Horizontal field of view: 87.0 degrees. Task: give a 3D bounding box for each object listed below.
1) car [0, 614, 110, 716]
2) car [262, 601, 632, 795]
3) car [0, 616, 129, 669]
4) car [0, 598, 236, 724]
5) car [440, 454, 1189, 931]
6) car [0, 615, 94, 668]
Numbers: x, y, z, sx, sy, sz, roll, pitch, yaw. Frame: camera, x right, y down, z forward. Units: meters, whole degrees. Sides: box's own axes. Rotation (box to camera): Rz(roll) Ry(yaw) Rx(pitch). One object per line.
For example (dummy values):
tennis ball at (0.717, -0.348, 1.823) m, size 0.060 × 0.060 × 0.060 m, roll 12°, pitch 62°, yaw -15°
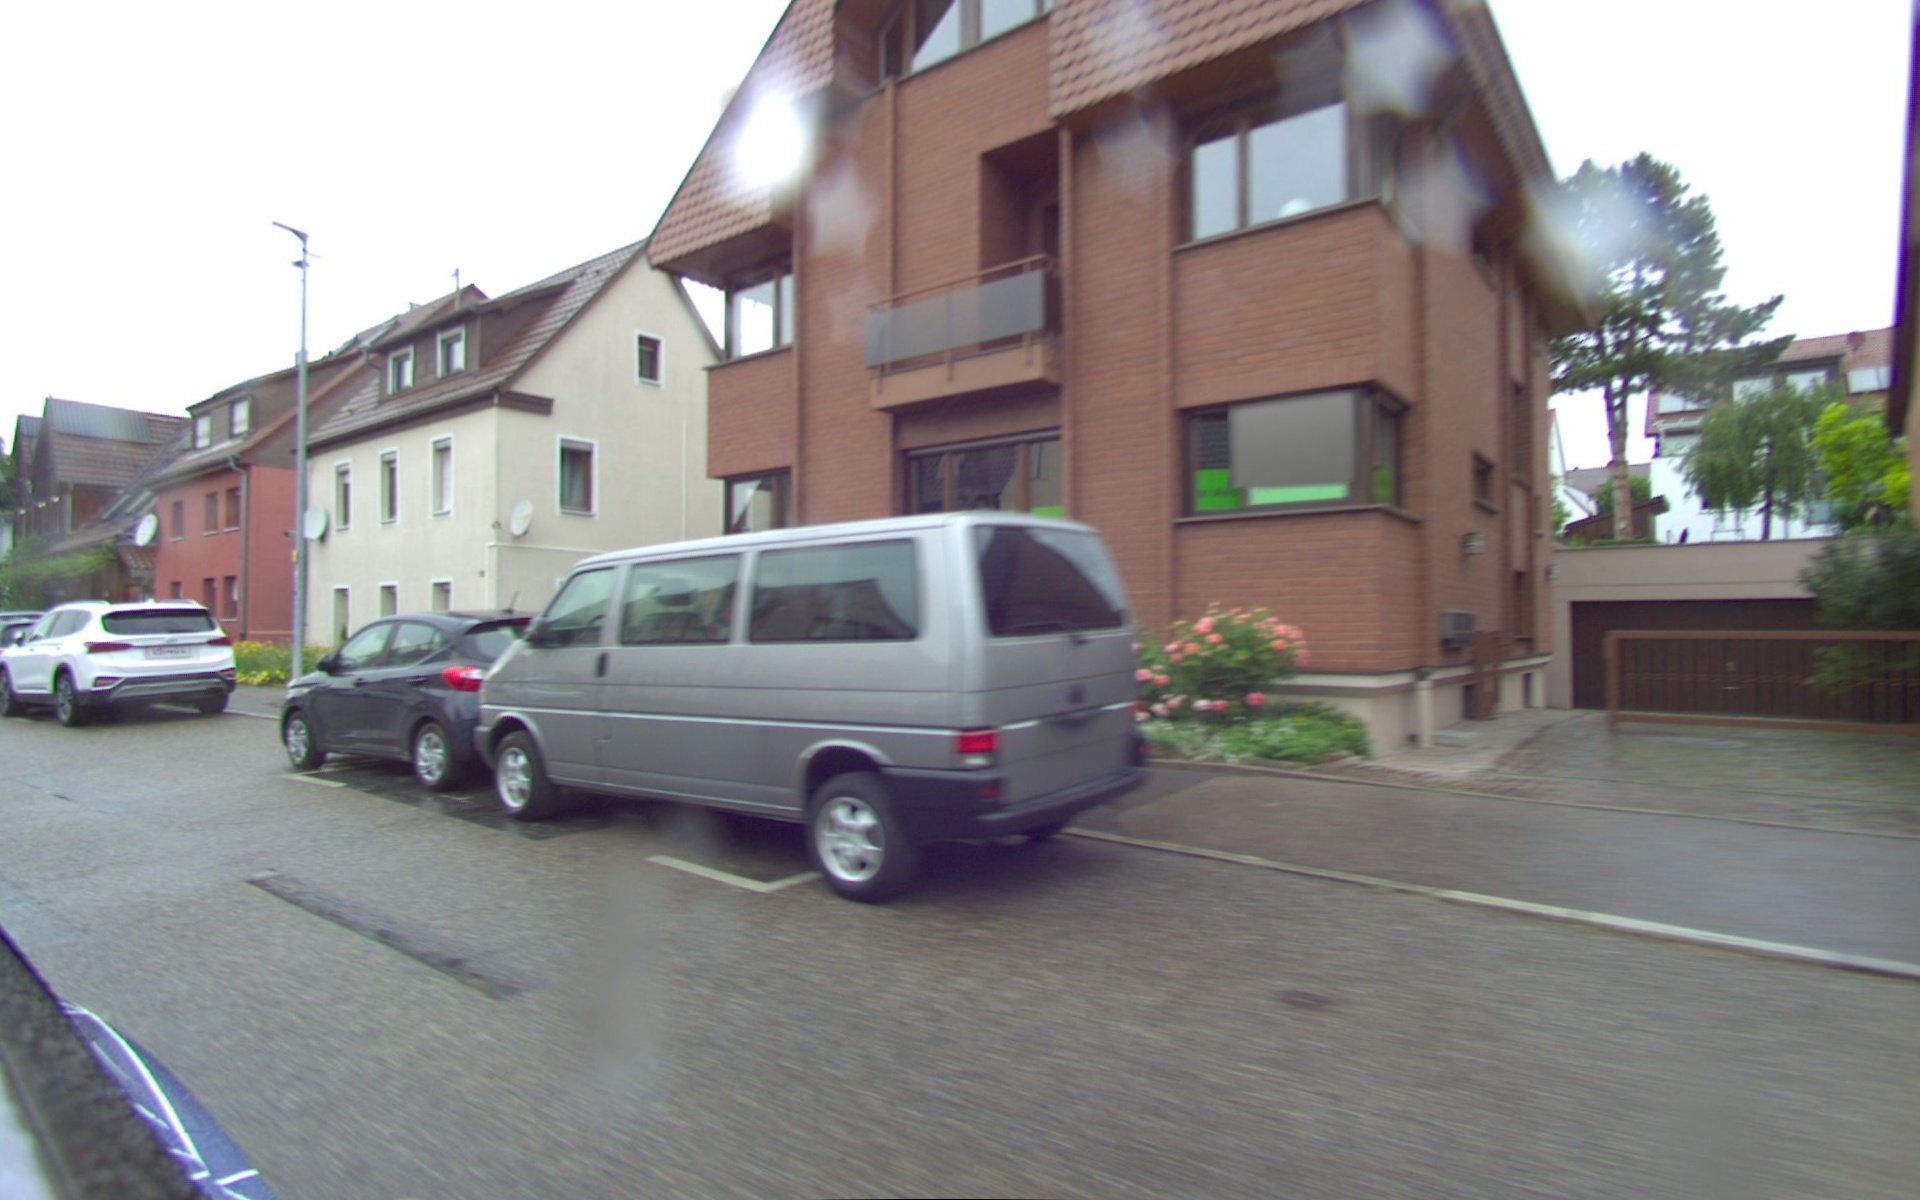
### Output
car at (-16.378, 1.066, 17.612) m, size 3.268 × 1.630 × 1.592 m, roll -1°, pitch -2°, yaw 34°
car at (-4.883, 0.799, 9.522) m, size 3.557 × 1.508 × 1.565 m, roll -1°, pitch -2°, yaw 34°
car at (-27.071, 1.246, 30.039) m, size 1.588 × 1.490 × 3.430 m, roll -1°, pitch -2°, yaw 36°
car at (-12.850, 0.842, 15.166) m, size 4.644 × 1.631 × 1.750 m, roll -1°, pitch -2°, yaw 34°
car at (-1.300, 0.427, 6.651) m, size 5.208 × 2.029 × 1.804 m, roll -1°, pitch -1°, yaw 39°
car at (-29.181, 1.274, 31.162) m, size 1.853 × 1.517 × 3.541 m, roll -1°, pitch 1°, yaw 38°
